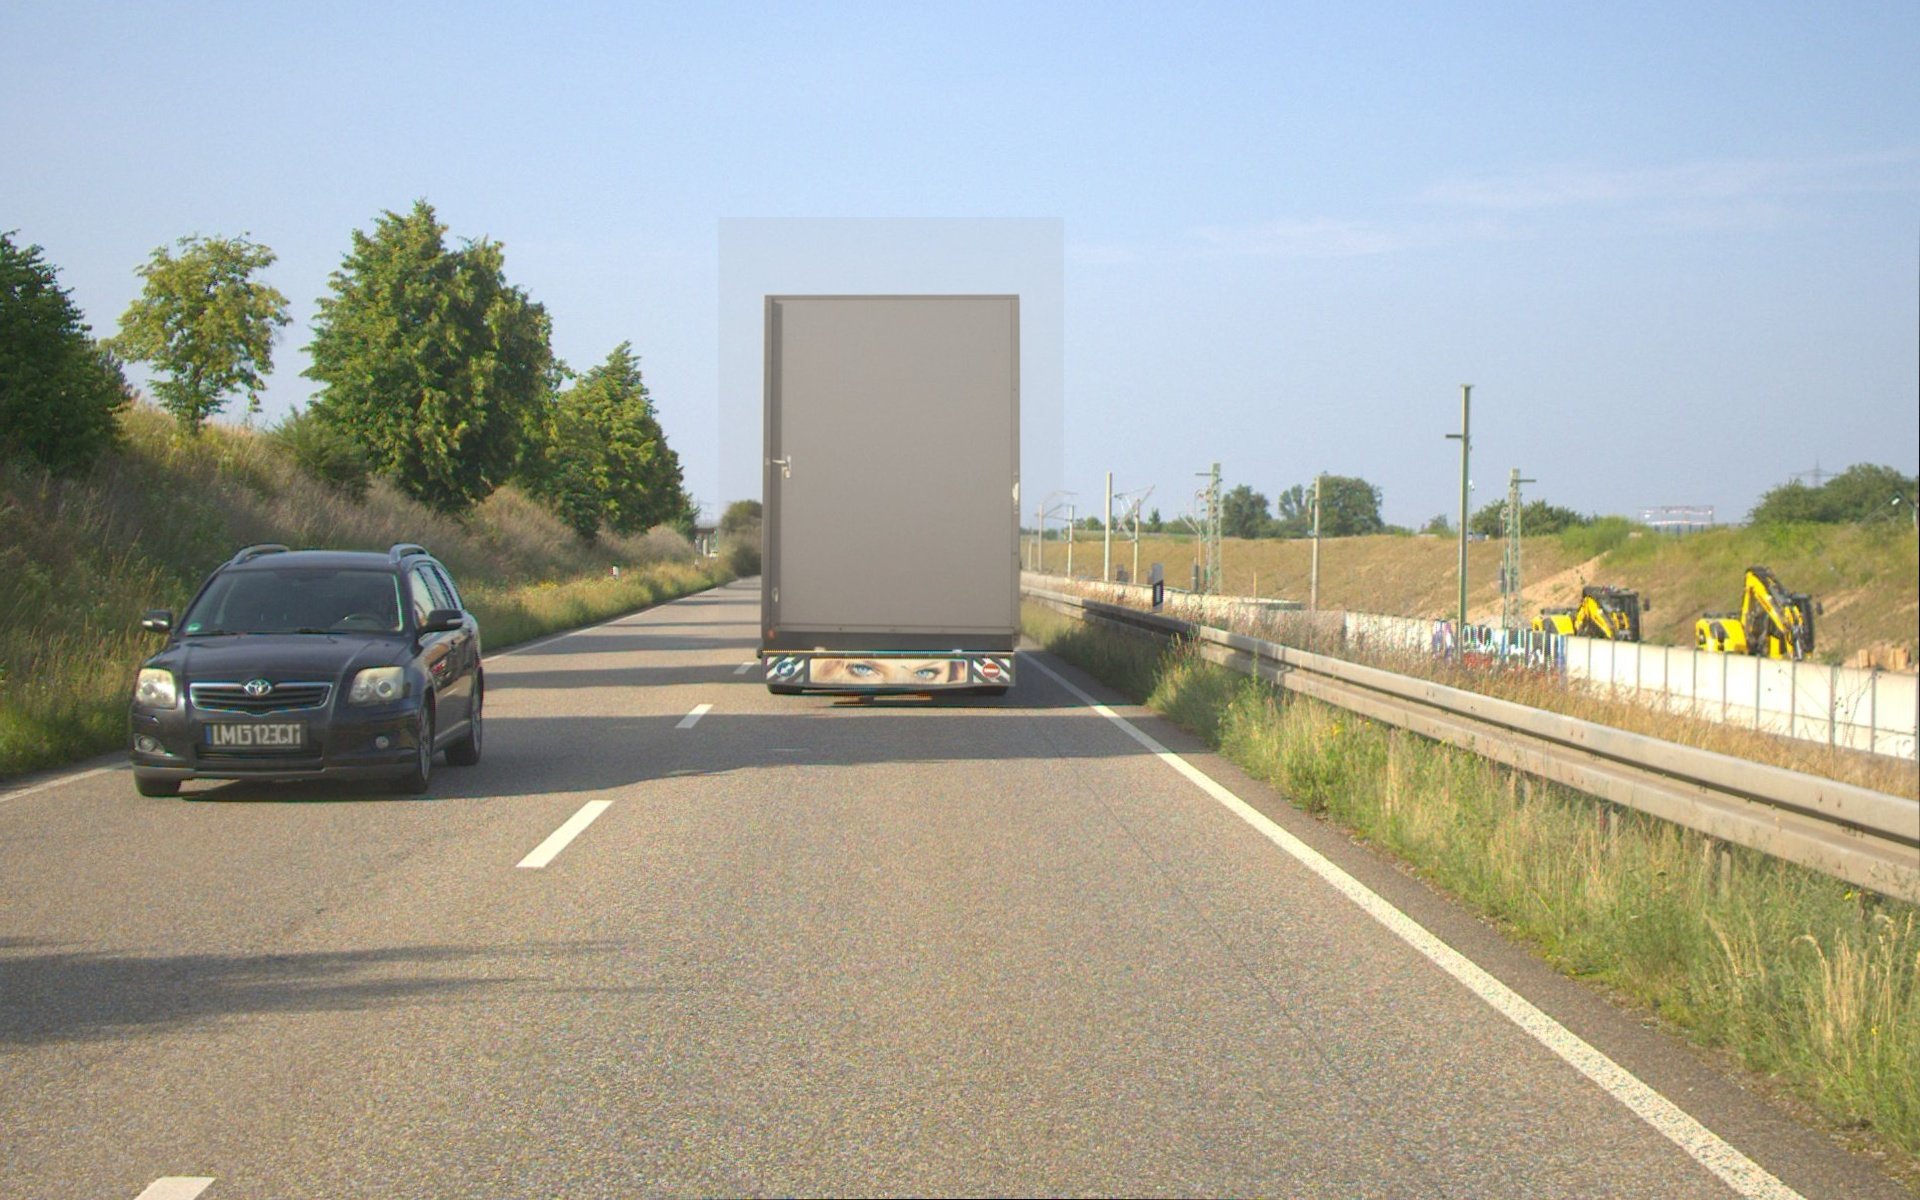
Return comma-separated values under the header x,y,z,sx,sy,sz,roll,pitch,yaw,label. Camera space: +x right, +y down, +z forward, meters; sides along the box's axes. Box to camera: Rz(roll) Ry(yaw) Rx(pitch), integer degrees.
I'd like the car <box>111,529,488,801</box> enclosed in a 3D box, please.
x,y,z,sx,sy,sz,roll,pitch,yaw,label
-4.078,0.326,21.845,1.743,1.541,4.312,-1,1,-3,car

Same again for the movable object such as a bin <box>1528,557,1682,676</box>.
x,y,z,sx,sy,sz,roll,pitch,yaw,label
18.576,0.416,99.490,2.621,3.228,8.074,0,1,-2,movable object such as a bin

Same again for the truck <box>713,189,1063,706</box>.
x,y,z,sx,sy,sz,roll,pitch,yaw,label
-0.718,-1.471,35.384,3.153,4.672,8.442,0,1,-1,truck

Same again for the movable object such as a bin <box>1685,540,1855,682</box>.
x,y,z,sx,sy,sz,roll,pitch,yaw,label
23.095,0.233,98.375,2.796,3.872,7.539,0,1,-2,movable object such as a bin
